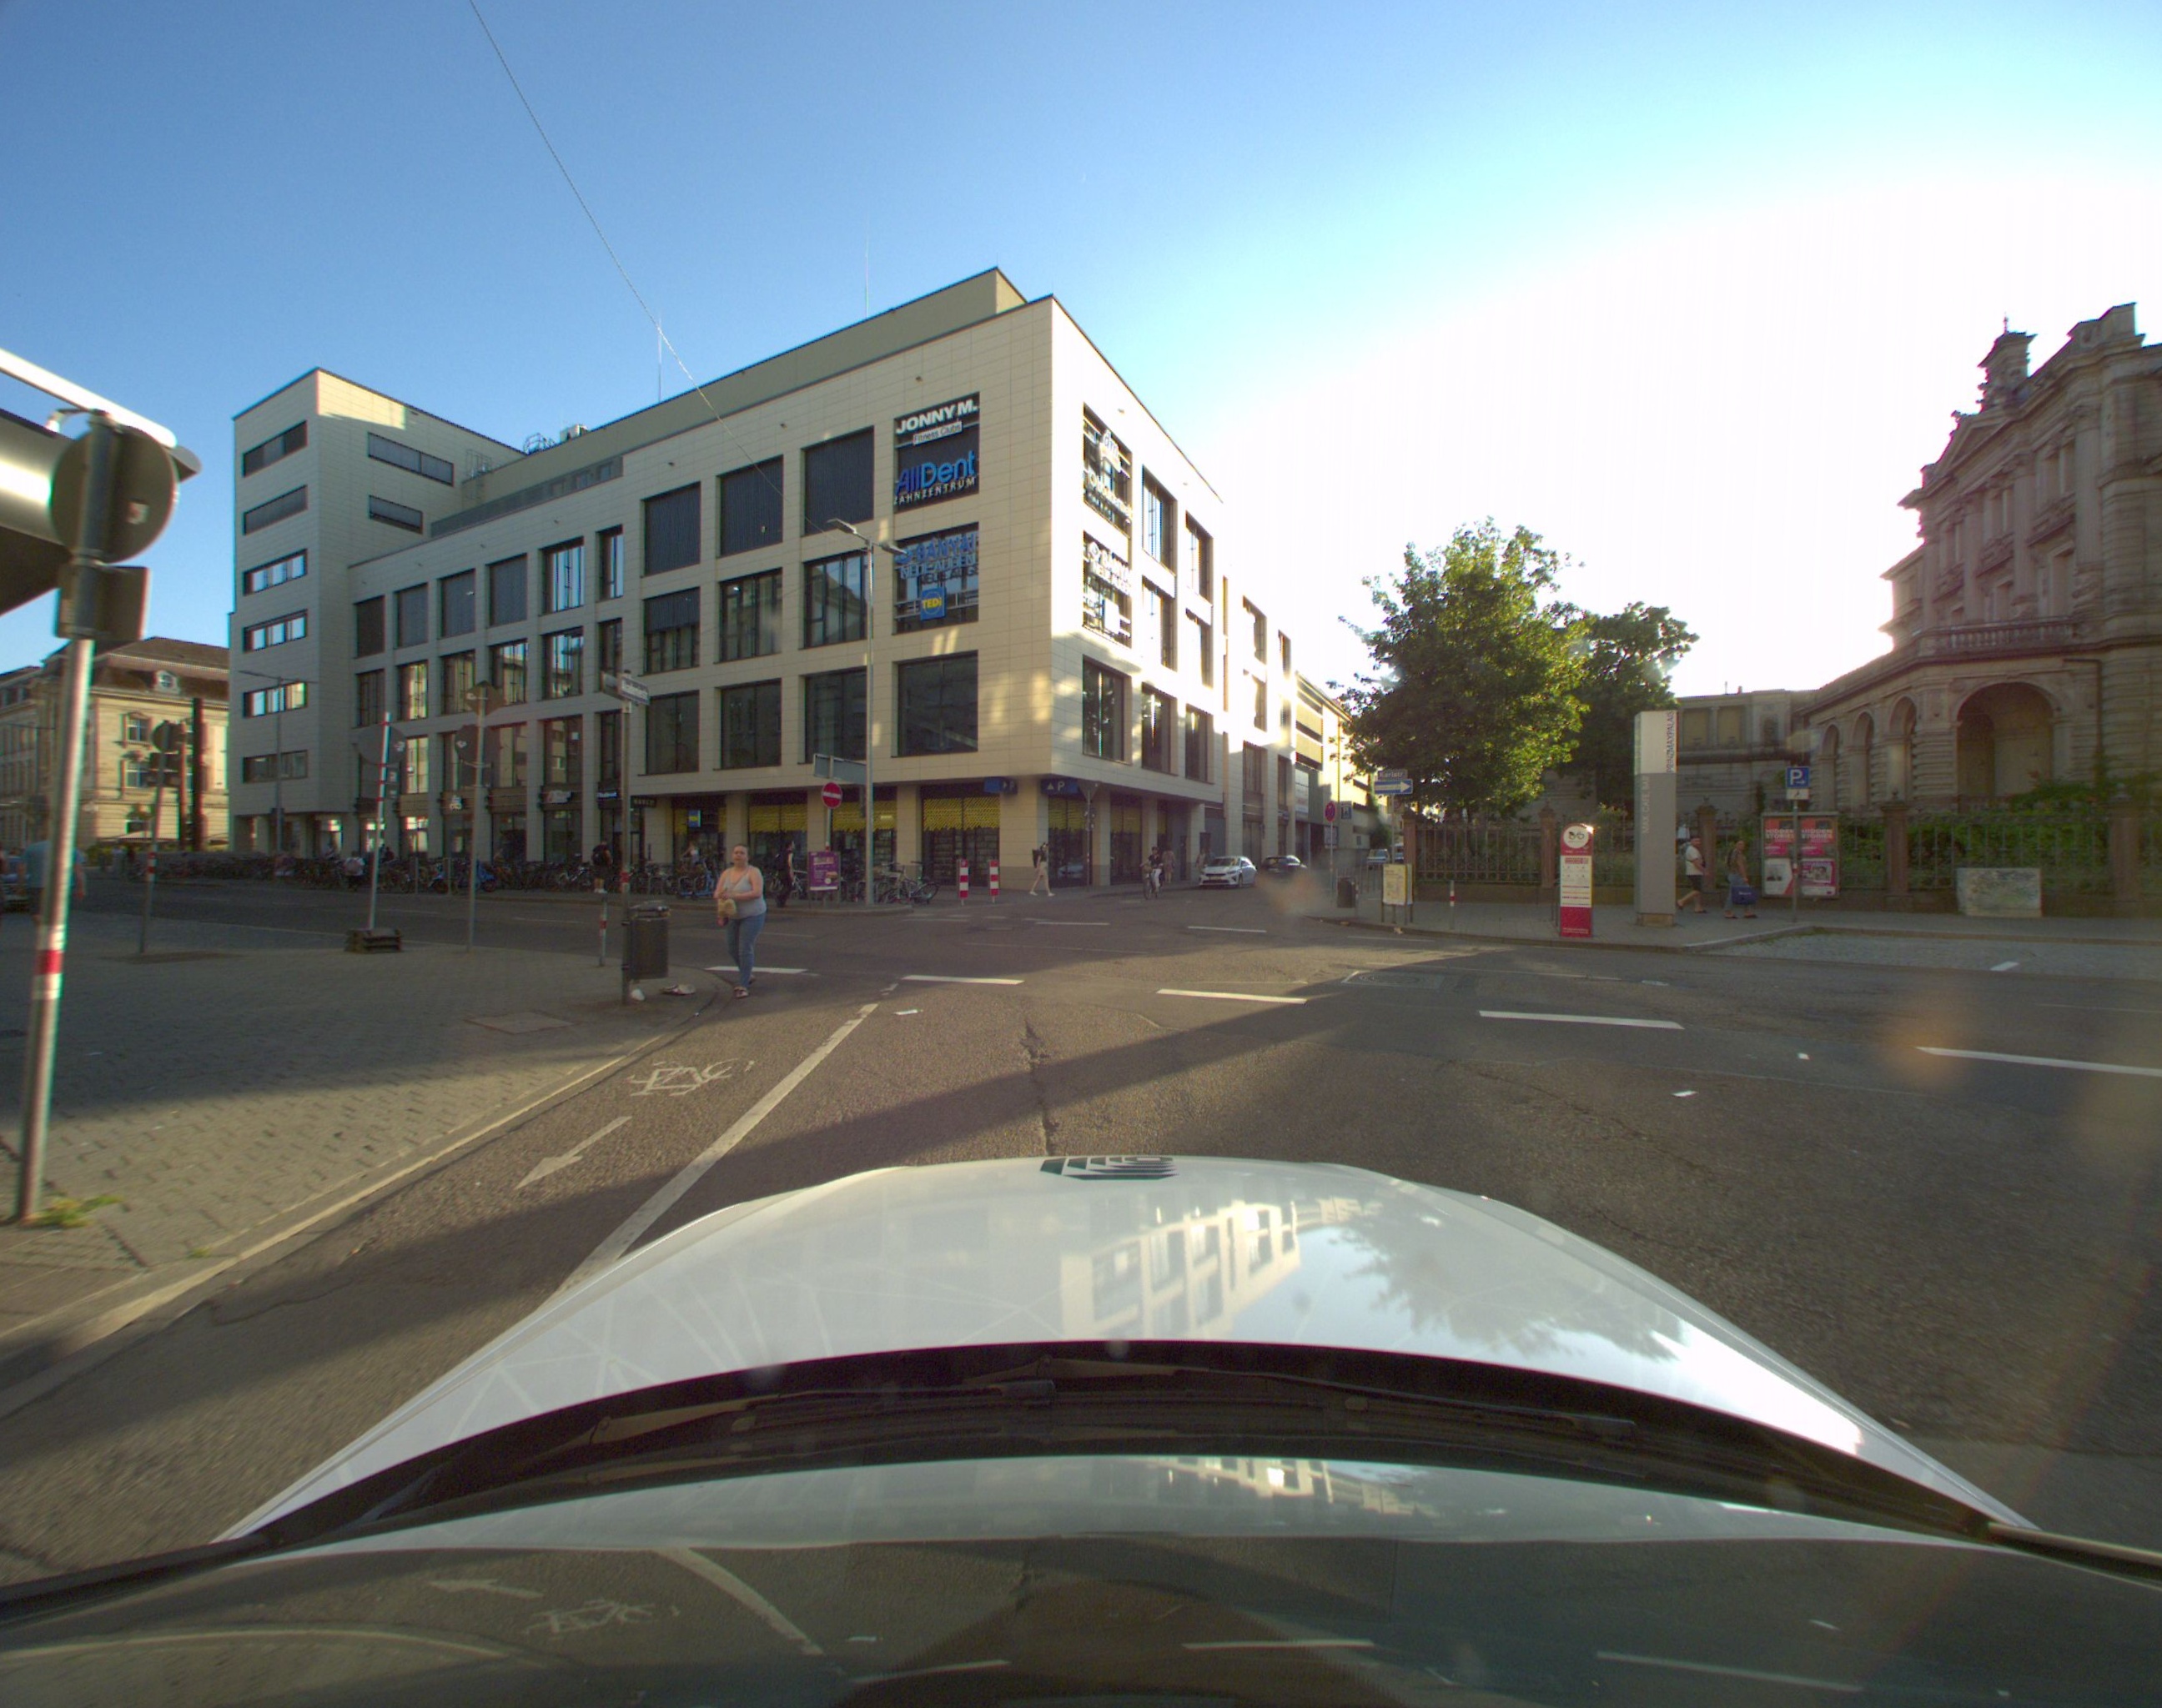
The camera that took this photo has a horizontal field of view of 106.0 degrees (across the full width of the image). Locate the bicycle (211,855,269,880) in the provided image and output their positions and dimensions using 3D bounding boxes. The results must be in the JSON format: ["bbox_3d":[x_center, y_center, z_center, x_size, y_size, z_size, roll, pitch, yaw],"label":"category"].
[{"bbox_3d":[-42.529,0.679,41.226,0.507,1.255,1.988,0,-1,19],"label":"bicycle"}]

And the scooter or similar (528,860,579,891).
[{"bbox_3d":[-16.448,0.673,25.416,0.383,0.942,1.278,0,-1,26],"label":"scooter or similar"}]

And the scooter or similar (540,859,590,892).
[{"bbox_3d":[-15.874,0.641,25.068,0.383,0.992,1.278,0,-1,26],"label":"scooter or similar"}]

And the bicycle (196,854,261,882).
[{"bbox_3d":[-39.273,0.642,37.548,0.507,1.255,1.988,0,-1,19],"label":"bicycle"}]

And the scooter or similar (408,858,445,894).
[{"bbox_3d":[-21.556,0.716,26.809,1.254,1.181,0.519,0,-1,30],"label":"scooter or similar"}]

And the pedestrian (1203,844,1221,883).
[{"bbox_3d":[6.323,0.452,39.332,0.666,1.836,0.651,0,0,25],"label":"pedestrian"}]

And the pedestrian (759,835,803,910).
[{"bbox_3d":[-6.781,0.420,18.446,0.870,1.658,0.615,0,-1,-15],"label":"pedestrian"}]

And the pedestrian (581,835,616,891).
[{"bbox_3d":[-14.873,0.265,25.102,0.636,1.695,0.688,0,0,30],"label":"pedestrian"}]

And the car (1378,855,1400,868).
[{"bbox_3d":[33.701,0.809,88.954,1.866,1.453,4.024,0,0,26],"label":"car"}]

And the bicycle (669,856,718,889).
[{"bbox_3d":[-14.904,0.696,31.301,1.954,1.255,0.616,0,-1,27],"label":"bicycle"}]

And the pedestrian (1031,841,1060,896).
[{"bbox_3d":[-1.148,0.457,26.176,0.639,1.723,0.838,0,0,-28],"label":"pedestrian"}]

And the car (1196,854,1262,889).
[{"bbox_3d":[6.647,0.737,36.169,1.761,1.453,4.256,0,0,26],"label":"car"}]

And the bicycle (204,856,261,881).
[{"bbox_3d":[-43.957,0.728,42.230,0.507,1.255,1.988,0,-1,19],"label":"bicycle"}]

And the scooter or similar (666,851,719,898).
[{"bbox_3d":[-10.218,0.532,21.470,0.383,1.212,1.278,0,-1,26],"label":"scooter or similar"}]

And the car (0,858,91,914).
[{"bbox_3d":[-28.580,0.811,21.673,3.951,1.391,1.874,0,0,25],"label":"car"}]

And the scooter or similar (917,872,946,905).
[{"bbox_3d":[-4.135,0.939,22.594,0.383,0.884,0.774,0,-1,26],"label":"scooter or similar"}]

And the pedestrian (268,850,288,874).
[{"bbox_3d":[-48.742,0.485,49.414,0.636,1.425,0.688,0,0,27],"label":"pedestrian"}]

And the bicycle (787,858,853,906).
[{"bbox_3d":[-7.194,0.747,22.544,0.507,1.255,1.990,0,-1,25],"label":"bicycle"}]

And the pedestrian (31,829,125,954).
[{"bbox_3d":[-14.201,0.510,11.538,0.793,1.707,0.669,0,-1,27],"label":"pedestrian"}]

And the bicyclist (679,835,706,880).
[{"bbox_3d":[-14.954,0.119,31.337,0.636,1.695,0.688,0,0,28],"label":"bicyclist"}]

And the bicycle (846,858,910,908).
[{"bbox_3d":[-5.323,0.743,21.498,0.507,1.255,1.990,0,-1,24],"label":"bicycle"}]

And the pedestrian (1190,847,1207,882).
[{"bbox_3d":[5.713,0.492,39.630,0.666,1.675,0.651,0,0,25],"label":"pedestrian"}]

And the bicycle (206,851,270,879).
[{"bbox_3d":[-38.594,0.492,37.331,0.507,1.255,1.988,0,-1,19],"label":"bicycle"}]

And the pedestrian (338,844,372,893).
[{"bbox_3d":[-25.326,0.496,28.405,0.636,1.695,0.688,0,0,27],"label":"pedestrian"}]

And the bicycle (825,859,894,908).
[{"bbox_3d":[-5.885,0.763,21.753,0.507,1.255,1.991,0,-1,28],"label":"bicycle"}]

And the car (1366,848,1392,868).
[{"bbox_3d":[28.810,0.390,78.673,1.866,1.912,4.776,0,0,26],"label":"car"}]

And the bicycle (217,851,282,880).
[{"bbox_3d":[-37.582,0.527,36.851,0.507,1.255,1.988,0,-1,19],"label":"bicycle"}]

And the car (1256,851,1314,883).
[{"bbox_3d":[11.119,0.665,44.133,1.865,1.598,4.718,0,0,30],"label":"car"}]

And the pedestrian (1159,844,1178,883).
[{"bbox_3d":[3.887,0.416,36.175,0.665,1.744,0.651,0,-1,28],"label":"pedestrian"}]

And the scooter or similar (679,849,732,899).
[{"bbox_3d":[-9.731,0.522,21.151,0.383,1.260,1.278,0,-1,26],"label":"scooter or similar"}]

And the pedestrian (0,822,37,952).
[{"bbox_3d":[-14.558,0.436,10.835,0.793,1.707,0.669,0,-1,27],"label":"pedestrian"}]

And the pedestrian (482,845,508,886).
[{"bbox_3d":[-24.732,0.467,34.377,0.636,1.695,0.688,0,0,27],"label":"pedestrian"}]

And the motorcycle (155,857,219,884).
[{"bbox_3d":[-42.598,0.799,38.815,0.507,1.255,1.988,0,-1,19],"label":"motorcycle"}]

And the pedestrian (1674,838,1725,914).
[{"bbox_3d":[13.940,0.488,18.372,0.698,1.670,0.645,0,1,14],"label":"pedestrian"}]

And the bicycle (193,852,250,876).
[{"bbox_3d":[-44.694,0.525,42.365,0.507,1.255,1.988,0,-1,19],"label":"bicycle"}]

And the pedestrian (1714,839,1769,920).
[{"bbox_3d":[13.978,0.518,17.251,0.698,1.670,0.645,0,1,14],"label":"pedestrian"}]

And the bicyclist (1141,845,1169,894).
[{"bbox_3d":[2.406,0.503,26.442,0.652,1.570,0.868,0,-1,24],"label":"bicyclist"}]

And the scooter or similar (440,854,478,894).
[{"bbox_3d":[-19.780,0.635,25.895,1.254,1.242,0.519,0,-1,30],"label":"scooter or similar"}]

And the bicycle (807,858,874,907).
[{"bbox_3d":[-6.512,0.752,22.169,0.507,1.255,1.990,0,-1,26],"label":"bicycle"}]

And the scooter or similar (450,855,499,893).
[{"bbox_3d":[-20.630,0.667,27.716,0.383,1.242,1.278,0,-1,26],"label":"scooter or similar"}]

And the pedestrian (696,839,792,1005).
[{"bbox_3d":[-3.506,0.665,8.453,0.808,1.613,0.727,0,-1,-32],"label":"pedestrian"}]

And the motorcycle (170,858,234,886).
[{"bbox_3d":[-41.337,0.842,38.342,0.507,1.255,1.988,0,-1,19],"label":"motorcycle"}]
